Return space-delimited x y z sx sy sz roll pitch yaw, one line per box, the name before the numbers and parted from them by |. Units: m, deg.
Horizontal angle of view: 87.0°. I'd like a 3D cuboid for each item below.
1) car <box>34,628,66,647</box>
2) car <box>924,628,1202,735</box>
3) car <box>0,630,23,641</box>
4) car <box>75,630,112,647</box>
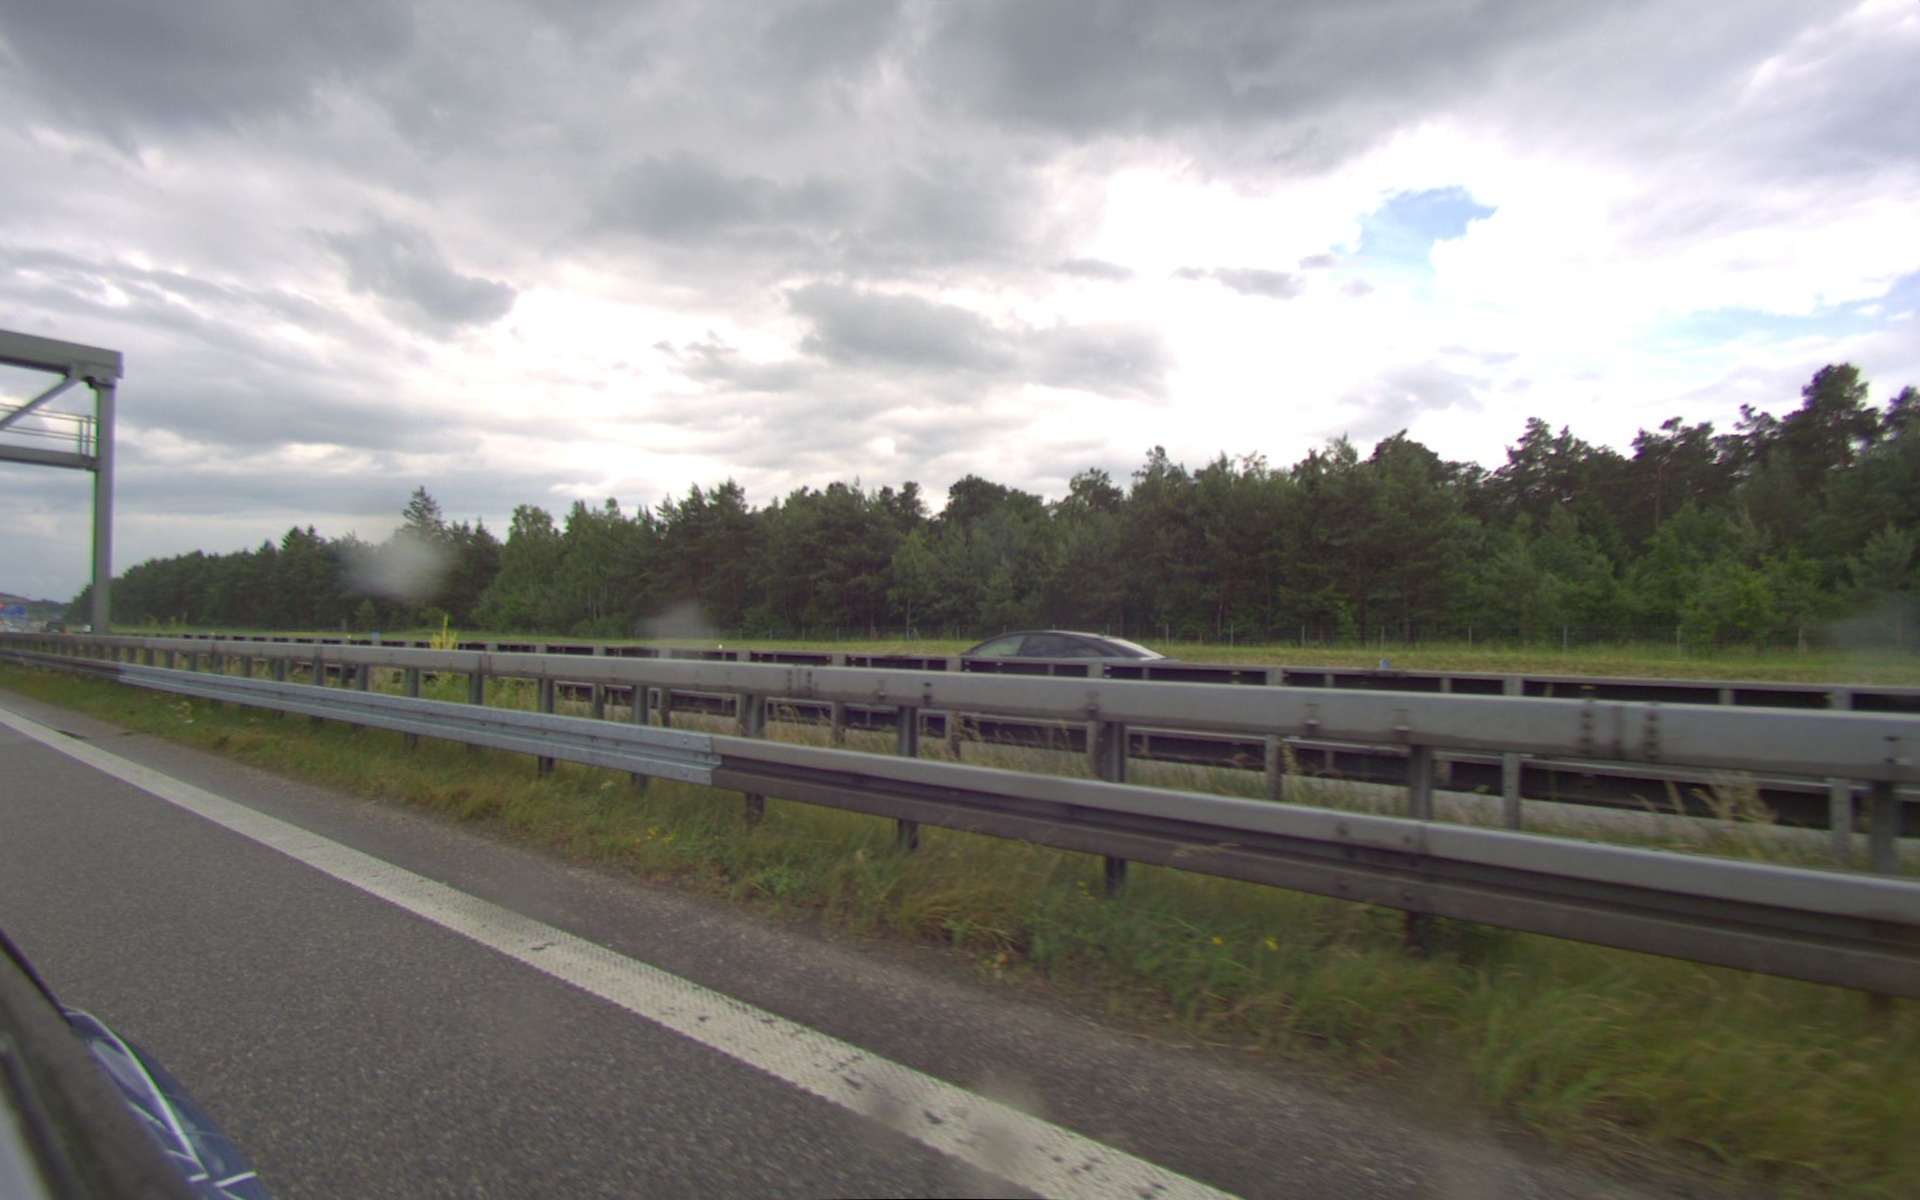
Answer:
car | -99.266 4.065 110.413 4.721 1.931 1.972 -2 -4 41
car | 1.551 1.196 16.083 4.137 1.460 1.739 -2 -1 40
car | -130.425 4.886 139.019 4.607 1.512 1.972 -1 -4 42
car | -77.907 3.484 91.013 4.318 1.456 1.830 -1 -3 40
